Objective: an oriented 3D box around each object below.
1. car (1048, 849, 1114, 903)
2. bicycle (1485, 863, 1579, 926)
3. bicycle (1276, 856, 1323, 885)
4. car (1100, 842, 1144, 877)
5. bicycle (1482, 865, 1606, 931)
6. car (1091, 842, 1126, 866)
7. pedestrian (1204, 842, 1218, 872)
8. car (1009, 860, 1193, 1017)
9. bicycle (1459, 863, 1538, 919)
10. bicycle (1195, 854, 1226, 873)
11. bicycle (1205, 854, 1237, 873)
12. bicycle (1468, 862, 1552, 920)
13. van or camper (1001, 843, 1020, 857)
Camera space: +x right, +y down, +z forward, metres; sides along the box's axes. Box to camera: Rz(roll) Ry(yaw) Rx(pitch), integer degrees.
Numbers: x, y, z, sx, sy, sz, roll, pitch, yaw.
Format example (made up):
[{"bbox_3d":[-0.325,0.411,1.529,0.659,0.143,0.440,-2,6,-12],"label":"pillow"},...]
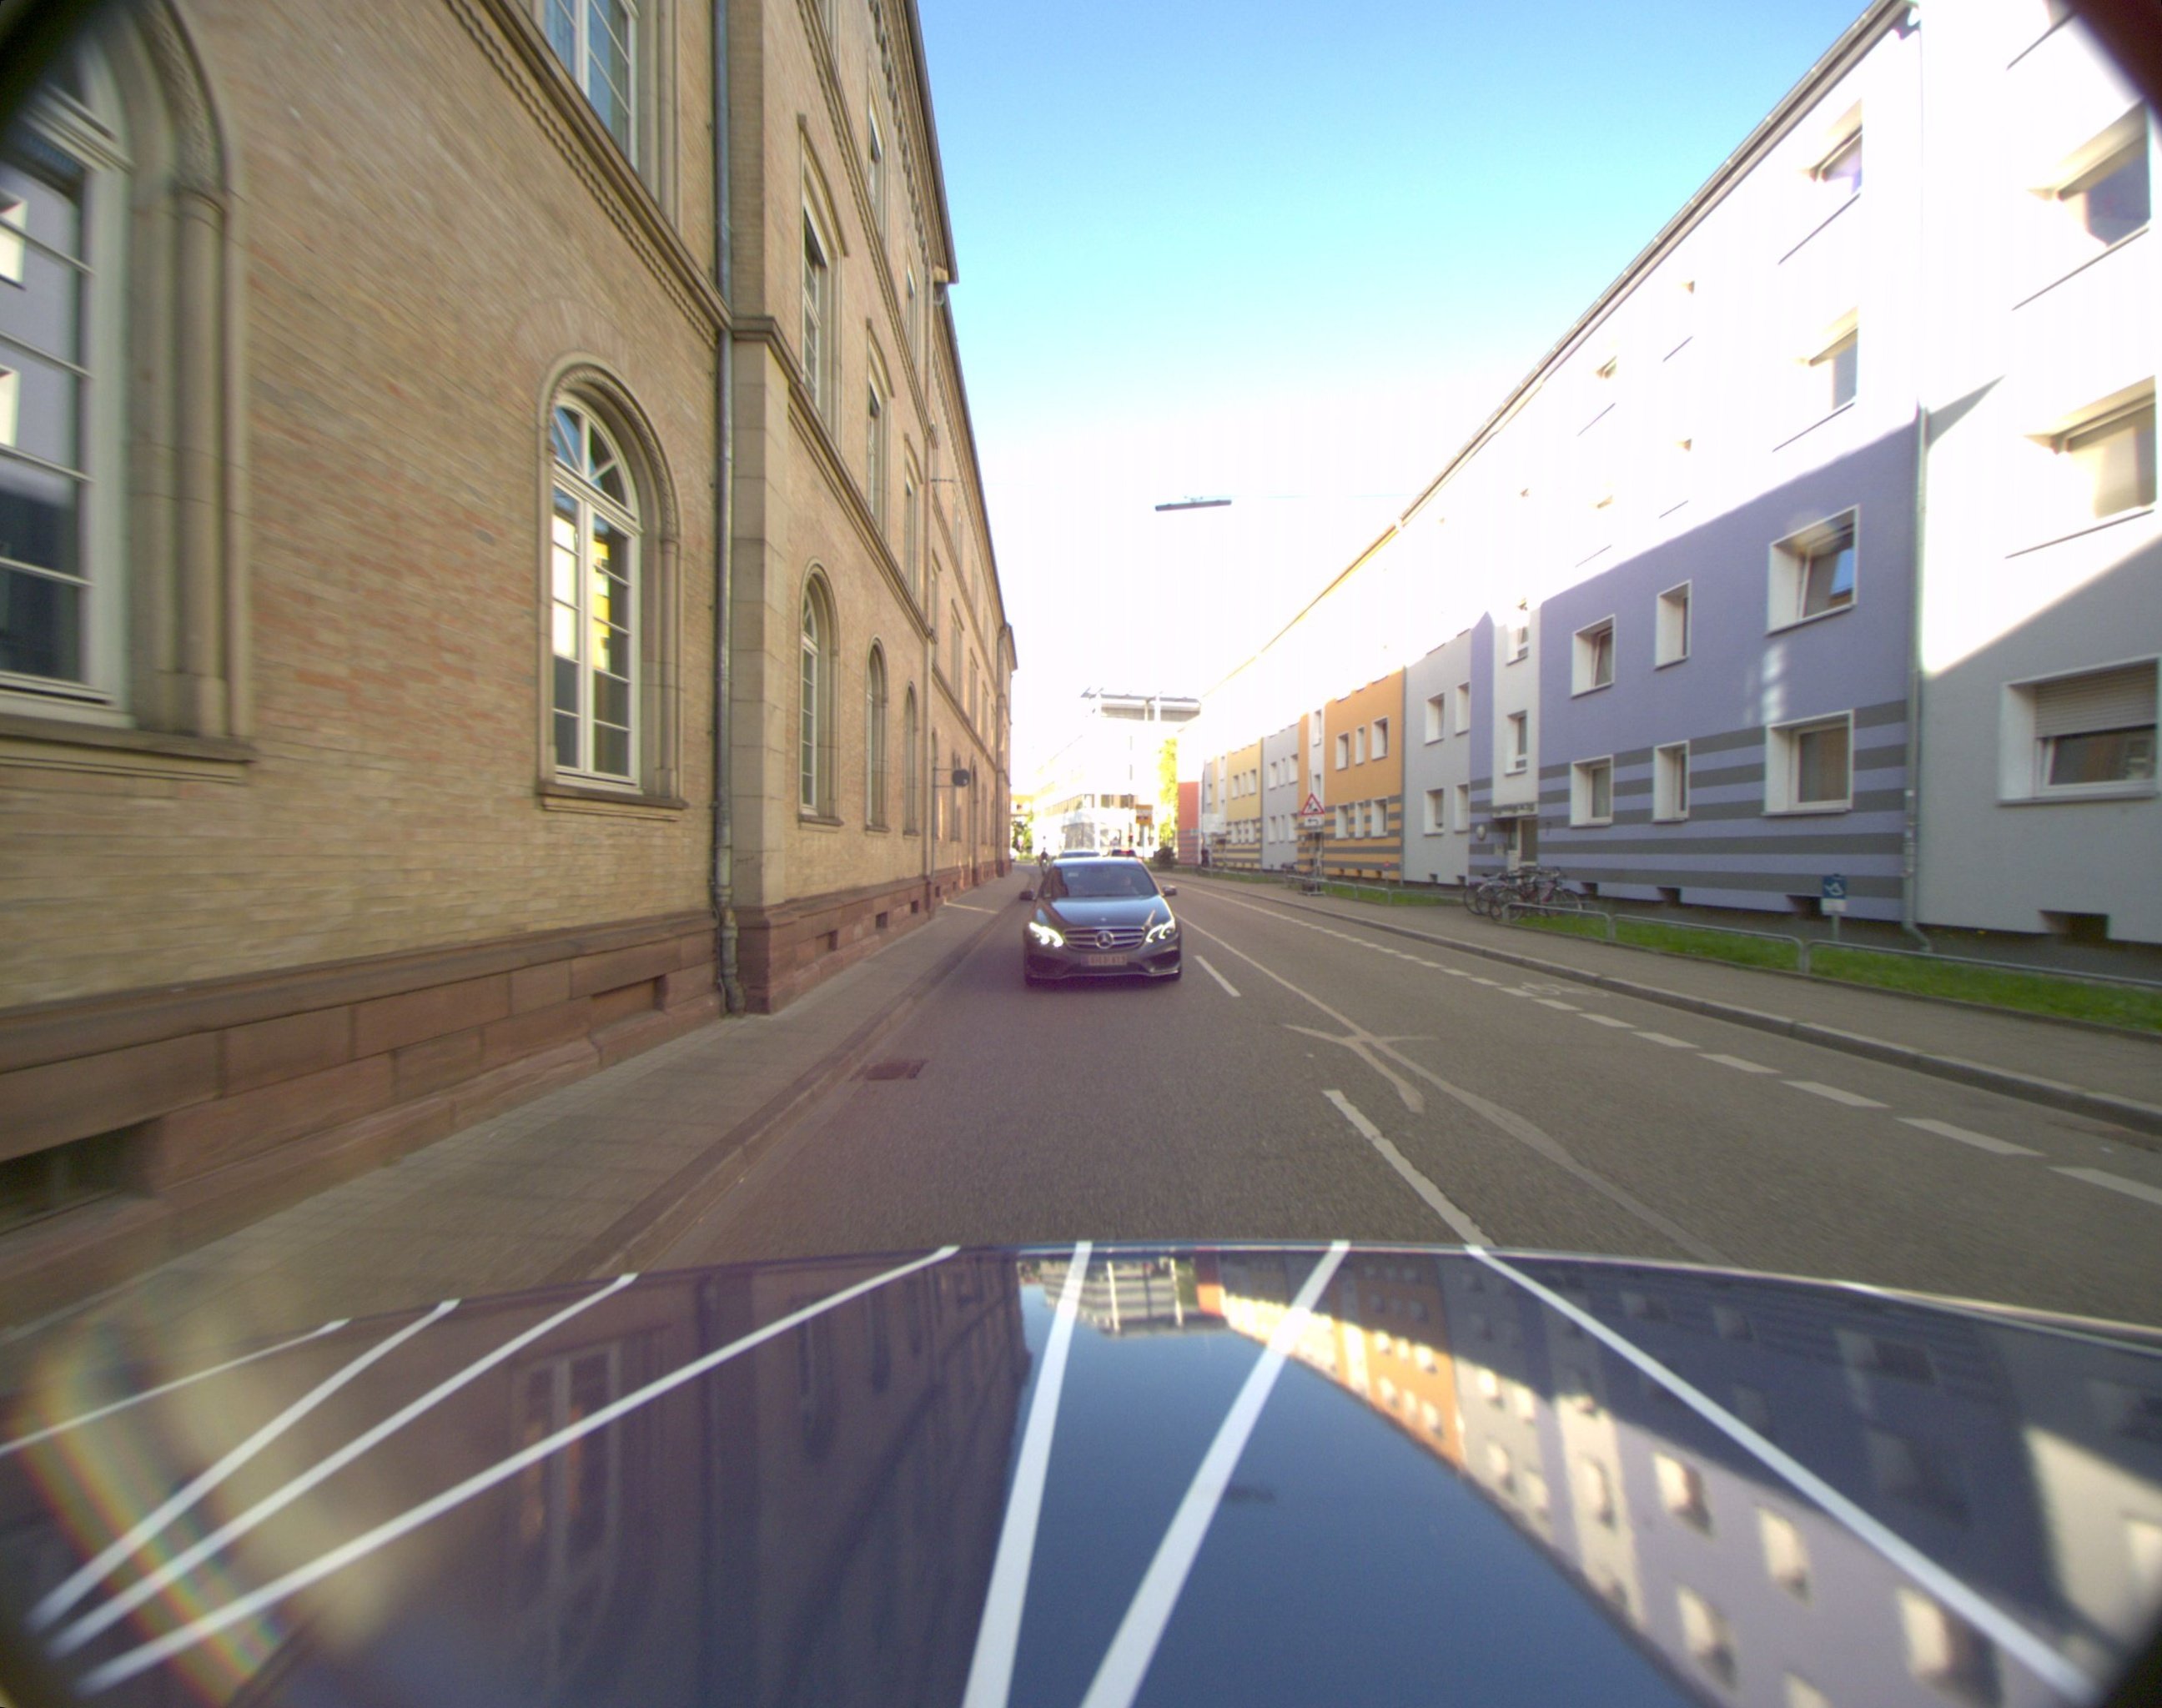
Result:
[{"bbox_3d":[-0.083,0.627,24.327,1.748,1.594,3.998,0,1,-5],"label":"car"},{"bbox_3d":[9.093,0.811,15.343,1.643,1.234,0.467,0,1,-3],"label":"bicycle"},{"bbox_3d":[9.029,0.672,31.392,1.757,1.139,0.650,0,1,-10],"label":"bicycle"},{"bbox_3d":[2.259,0.290,43.368,1.905,1.824,5.092,2,0,-3],"label":"car"},{"bbox_3d":[8.888,0.837,14.621,2.014,1.224,0.623,0,1,-3],"label":"bicycle"},{"bbox_3d":[1.764,-0.019,50.112,1.746,1.477,4.134,2,0,-5],"label":"car"},{"bbox_3d":[8.065,0.180,47.253,0.720,1.844,0.870,1,1,19],"label":"pedestrian"},{"bbox_3d":[0.226,0.859,9.921,1.798,1.460,4.719,-2,0,1],"label":"car"},{"bbox_3d":[9.340,0.815,17.018,1.584,1.234,0.384,0,1,-3],"label":"bicycle"},{"bbox_3d":[7.974,0.567,46.899,1.757,1.139,0.650,0,1,-10],"label":"bicycle"},{"bbox_3d":[8.388,0.575,45.543,1.757,1.139,0.650,0,1,-10],"label":"bicycle"},{"bbox_3d":[9.356,0.797,16.601,1.589,1.234,0.449,0,1,-3],"label":"bicycle"},{"bbox_3d":[-10.556,-0.644,114.191,2.164,2.002,4.970,0,1,-14],"label":"van or camper"}]
